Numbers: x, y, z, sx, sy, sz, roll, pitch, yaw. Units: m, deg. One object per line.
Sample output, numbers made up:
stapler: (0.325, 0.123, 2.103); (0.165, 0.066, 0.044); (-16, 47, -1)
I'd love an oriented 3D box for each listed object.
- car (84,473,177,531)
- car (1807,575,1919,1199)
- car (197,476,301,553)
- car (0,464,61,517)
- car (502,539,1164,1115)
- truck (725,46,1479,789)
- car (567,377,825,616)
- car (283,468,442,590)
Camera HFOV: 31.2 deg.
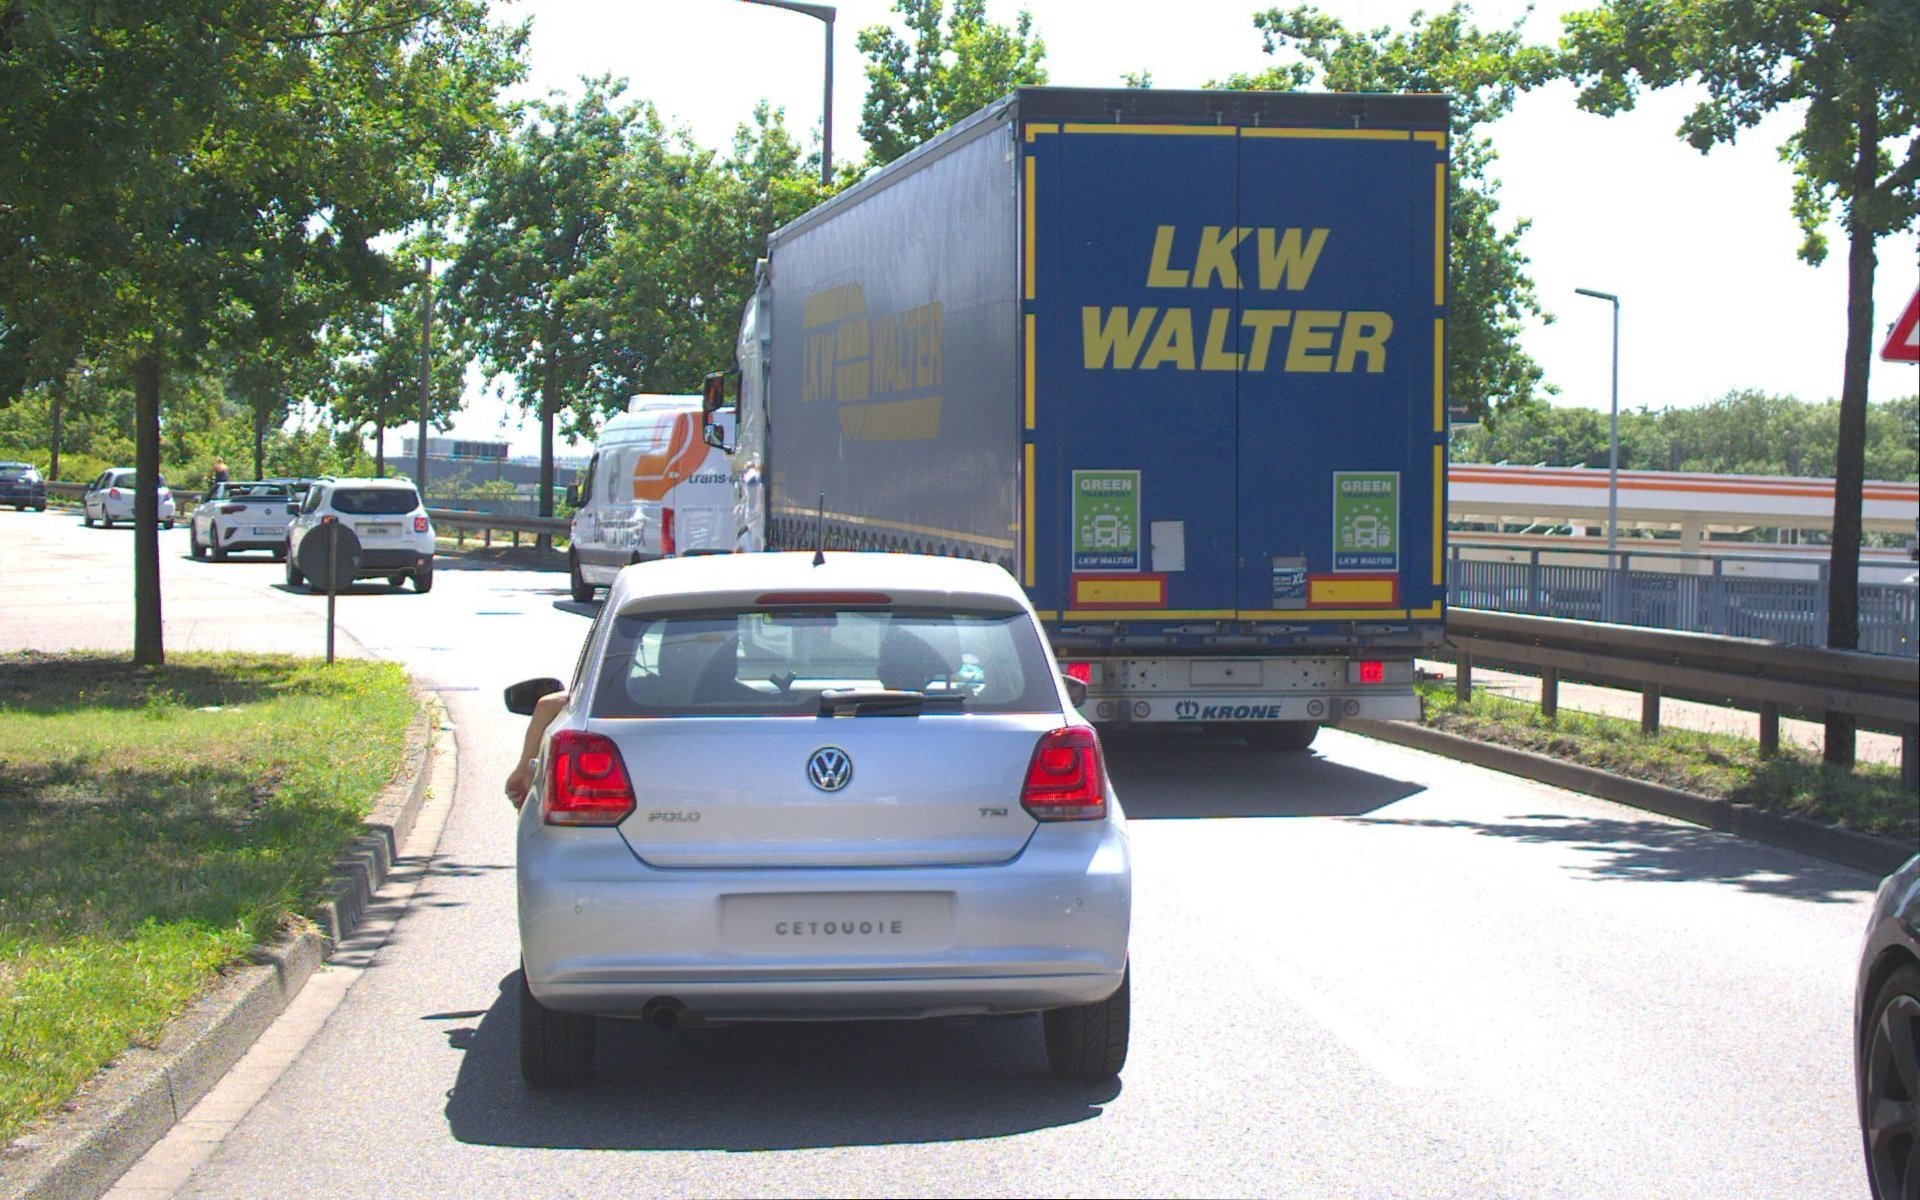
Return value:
car: (-20.545, -2.425, 85.064); (1.607, 1.355, 3.663); (1, 1, -23)
car: (2.770, 0.704, 5.384); (1.604, 1.451, 4.236); (1, 0, -3)
car: (-13.299, -1.602, 64.218); (1.494, 1.355, 3.664); (1, 1, -18)
car: (-27.489, -3.207, 101.329); (1.664, 1.460, 3.582); (1, 0, -18)
car: (-0.468, 0.564, 10.435); (1.646, 1.434, 3.537); (1, 0, -5)
truck: (0.276, -1.208, 27.847); (2.832, 4.184, 16.479); (1, 1, -9)
car: (-3.600, -1.401, 45.517); (2.175, 2.890, 6.361); (1, 2, -15)
car: (-9.010, -1.048, 51.642); (1.903, 1.712, 4.225); (1, 0, -16)
